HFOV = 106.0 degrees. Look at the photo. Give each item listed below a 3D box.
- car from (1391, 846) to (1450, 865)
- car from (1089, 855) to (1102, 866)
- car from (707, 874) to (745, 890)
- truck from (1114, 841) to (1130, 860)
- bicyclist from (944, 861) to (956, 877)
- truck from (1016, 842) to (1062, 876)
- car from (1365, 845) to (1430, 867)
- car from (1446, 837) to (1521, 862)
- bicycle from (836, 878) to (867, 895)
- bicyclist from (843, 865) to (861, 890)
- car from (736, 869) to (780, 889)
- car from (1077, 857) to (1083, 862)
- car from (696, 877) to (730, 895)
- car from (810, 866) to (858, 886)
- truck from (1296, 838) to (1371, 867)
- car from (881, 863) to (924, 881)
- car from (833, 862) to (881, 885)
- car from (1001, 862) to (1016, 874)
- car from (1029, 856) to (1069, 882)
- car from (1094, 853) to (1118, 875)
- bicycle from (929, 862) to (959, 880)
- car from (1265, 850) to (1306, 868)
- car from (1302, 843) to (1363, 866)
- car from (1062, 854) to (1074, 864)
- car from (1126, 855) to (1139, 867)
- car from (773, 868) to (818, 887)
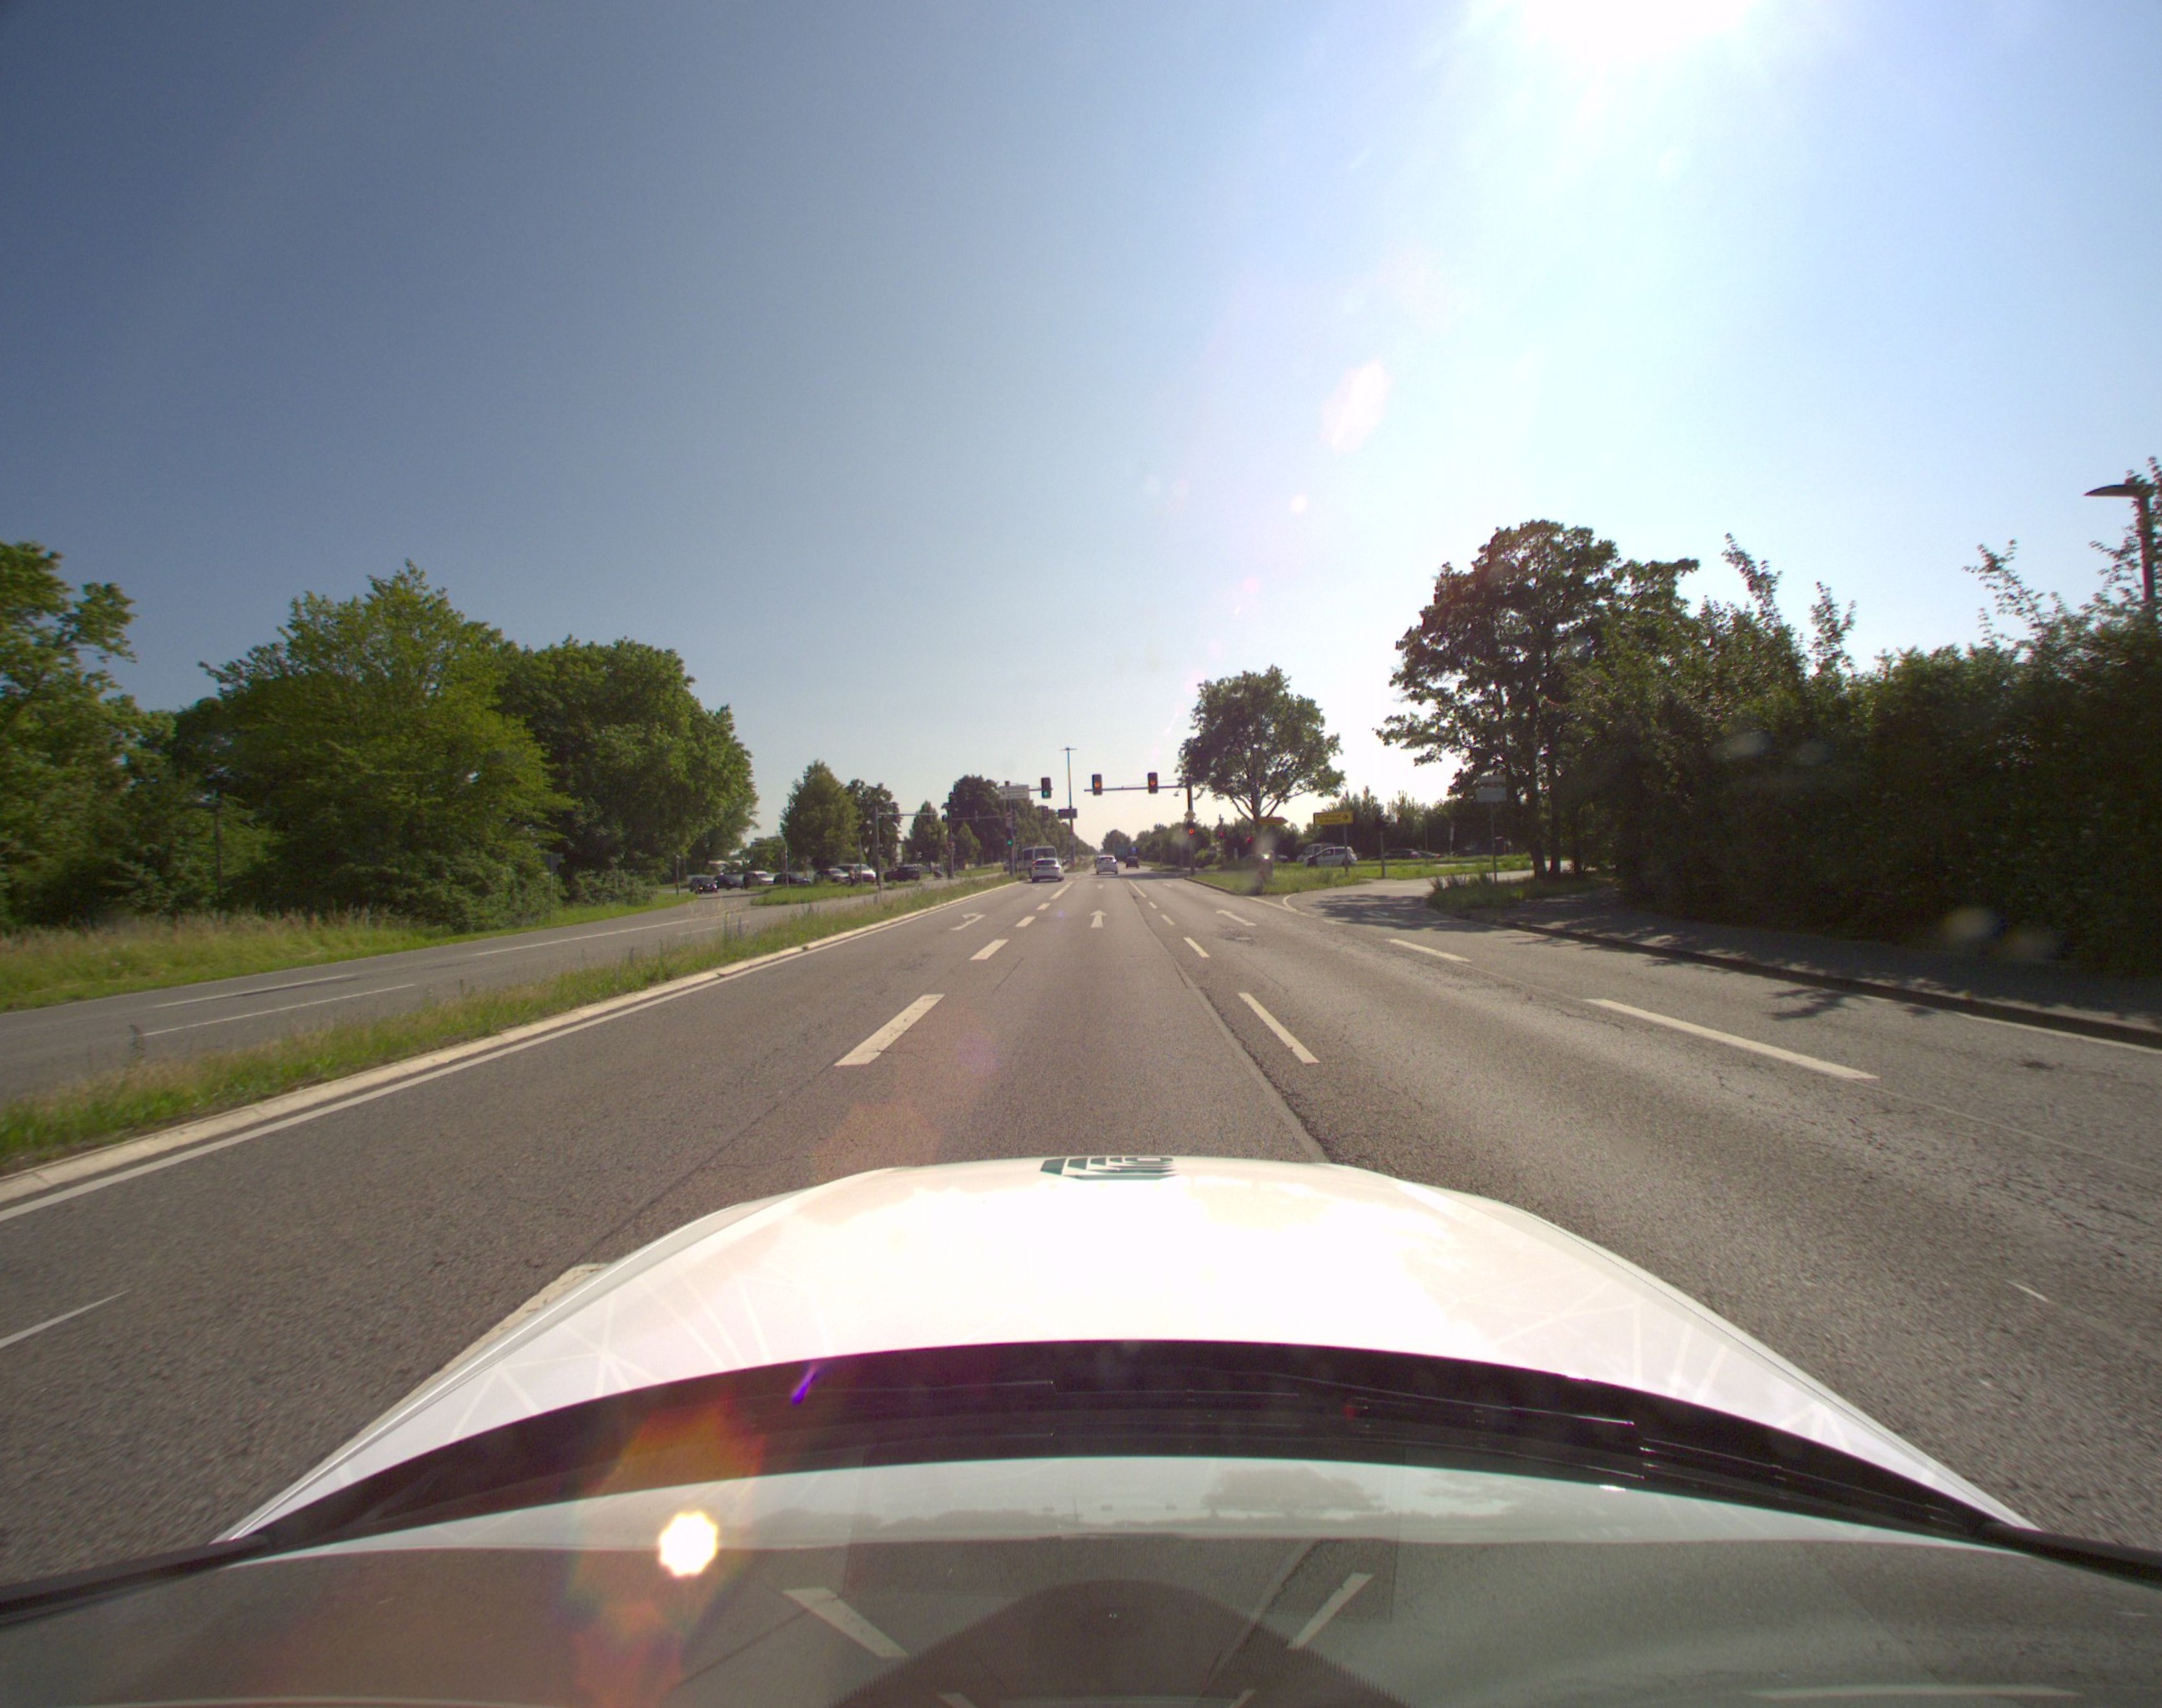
[{"bbox_3d":[27.291,0.140,65.467,1.899,1.420,3.955,1,-2,-37],"label":"car"},{"bbox_3d":[1.927,0.833,104.680,1.566,1.414,3.279,-2,0,2],"label":"car"},{"bbox_3d":[-37.780,2.947,86.600,4.072,1.512,1.932,-3,0,37],"label":"car"},{"bbox_3d":[7.821,-0.718,156.107,2.881,3.428,9.173,-2,0,2],"label":"truck"},{"bbox_3d":[-13.165,1.520,81.767,0.854,1.618,0.763,-2,-1,29],"label":"bicyclist"},{"bbox_3d":[-3.338,0.387,63.775,2.377,2.389,6.011,-3,0,-14],"label":"truck"},{"bbox_3d":[24.654,0.151,63.533,1.895,1.635,4.418,1,-1,-37],"label":"car"},{"bbox_3d":[28.697,-0.297,58.138,1.898,1.635,4.413,1,-2,-44],"label":"car"},{"bbox_3d":[-14.509,2.048,51.522,1.667,1.041,0.748,-2,0,6],"label":"bicycle"},{"bbox_3d":[-14.494,1.468,51.520,0.842,1.517,0.748,-2,0,7],"label":"bicyclist"},{"bbox_3d":[-32.910,2.567,82.951,4.448,1.800,2.018,-3,0,37],"label":"car"},{"bbox_3d":[-0.332,1.663,253.043,1.906,1.502,4.091,-2,0,0],"label":"car"},{"bbox_3d":[-34.962,3.071,77.358,2.009,1.495,4.237,-4,0,-36],"label":"car"},{"bbox_3d":[-22.757,2.039,75.022,4.212,1.606,2.018,-3,0,37],"label":"car"},{"bbox_3d":[22.245,-0.087,71.997,2.353,2.386,6.410,1,-2,-31],"label":"truck"},{"bbox_3d":[-17.440,1.744,79.535,3.948,1.649,1.926,-2,-1,36],"label":"car"},{"bbox_3d":[-21.625,1.885,78.635,4.595,1.950,2.013,-3,-1,36],"label":"car"},{"bbox_3d":[-9.475,1.792,106.856,1.480,1.414,3.764,-5,0,2],"label":"car"},{"bbox_3d":[-1.945,0.887,51.199,1.804,1.464,4.978,-3,0,5],"label":"car"},{"bbox_3d":[2.009,0.765,64.449,1.791,1.552,4.003,-1,0,2],"label":"car"},{"bbox_3d":[-13.813,1.715,82.148,2.765,1.670,1.143,-3,0,29],"label":"bicycle"},{"bbox_3d":[19.355,0.489,77.070,1.625,1.547,3.789,0,-2,-28],"label":"car"},{"bbox_3d":[17.411,0.028,56.369,3.709,1.469,1.796,-2,0,25],"label":"car"},{"bbox_3d":[-2.087,0.765,131.641,1.840,1.594,4.617,-3,0,1],"label":"car"},{"bbox_3d":[6.330,0.892,100.580,1.566,1.414,3.279,-1,-1,2],"label":"car"},{"bbox_3d":[-27.619,2.315,78.735,4.212,1.606,2.018,-3,0,37],"label":"car"}]
